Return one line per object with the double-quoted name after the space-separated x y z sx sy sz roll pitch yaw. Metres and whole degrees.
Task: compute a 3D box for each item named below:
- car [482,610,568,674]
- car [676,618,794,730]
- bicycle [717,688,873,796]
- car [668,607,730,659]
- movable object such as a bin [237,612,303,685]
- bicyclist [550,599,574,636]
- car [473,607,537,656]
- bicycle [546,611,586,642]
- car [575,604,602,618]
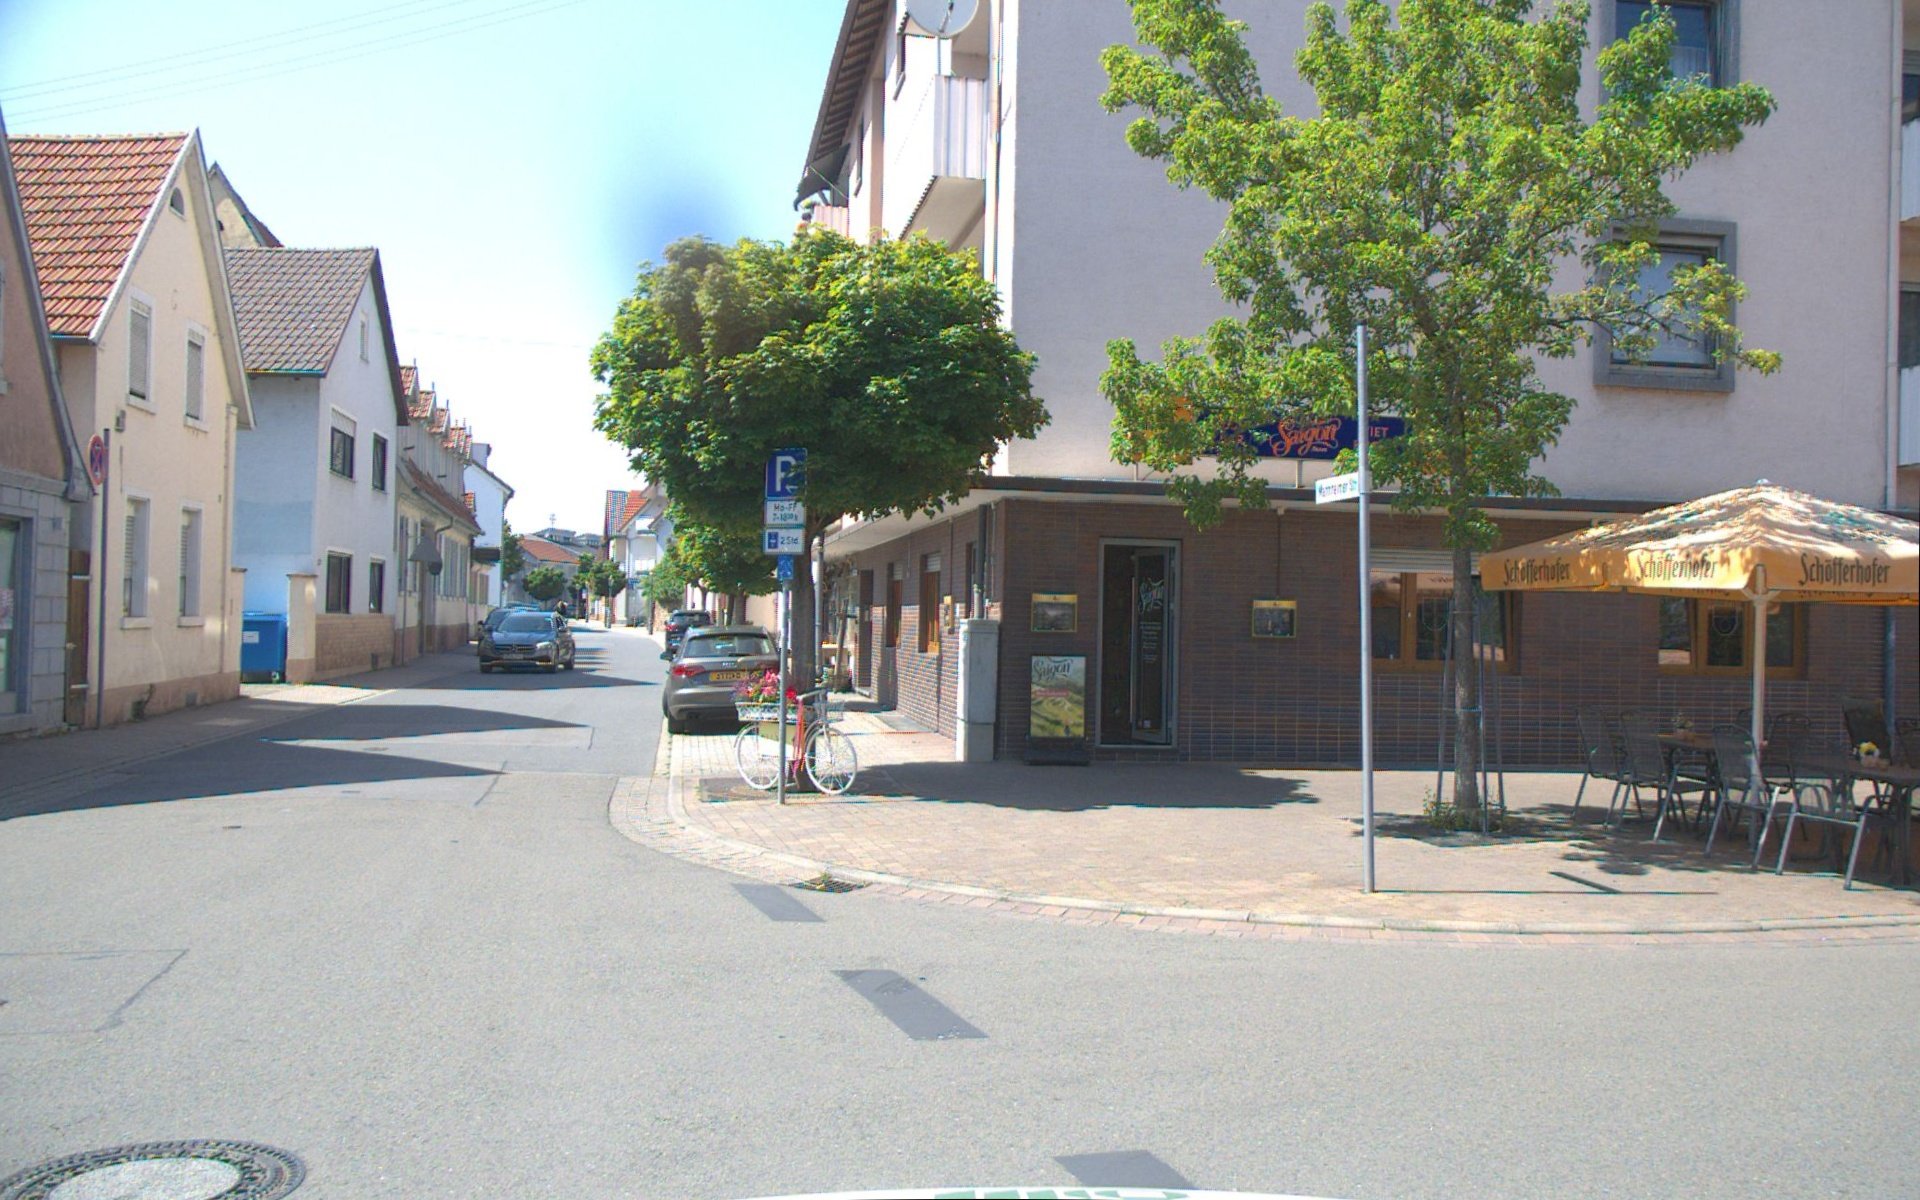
-10.945 1.108 41.859 1.876 1.507 4.828 1 -3 -12 "car"
-3.228 1.000 23.632 1.546 1.479 3.479 0 -1 -9 "car"
-1.522 1.290 15.194 1.382 0.913 0.464 -1 0 26 "bicycle"
-9.016 1.106 56.919 2.006 1.718 4.829 1 -1 -10 "car"
-13.122 0.921 31.471 1.080 1.389 0.389 0 -1 -7 "movable object such as a bin"
-18.171 0.814 75.529 1.029 1.666 1.123 1 -1 -16 "bicyclist"
-14.531 0.991 52.958 1.633 1.502 4.123 1 -1 -11 "car"
-18.083 1.191 75.759 1.597 1.395 3.908 1 -1 -16 "bicycle"
-44.289 1.273 197.274 1.984 1.626 4.511 0 -1 4 "car"
